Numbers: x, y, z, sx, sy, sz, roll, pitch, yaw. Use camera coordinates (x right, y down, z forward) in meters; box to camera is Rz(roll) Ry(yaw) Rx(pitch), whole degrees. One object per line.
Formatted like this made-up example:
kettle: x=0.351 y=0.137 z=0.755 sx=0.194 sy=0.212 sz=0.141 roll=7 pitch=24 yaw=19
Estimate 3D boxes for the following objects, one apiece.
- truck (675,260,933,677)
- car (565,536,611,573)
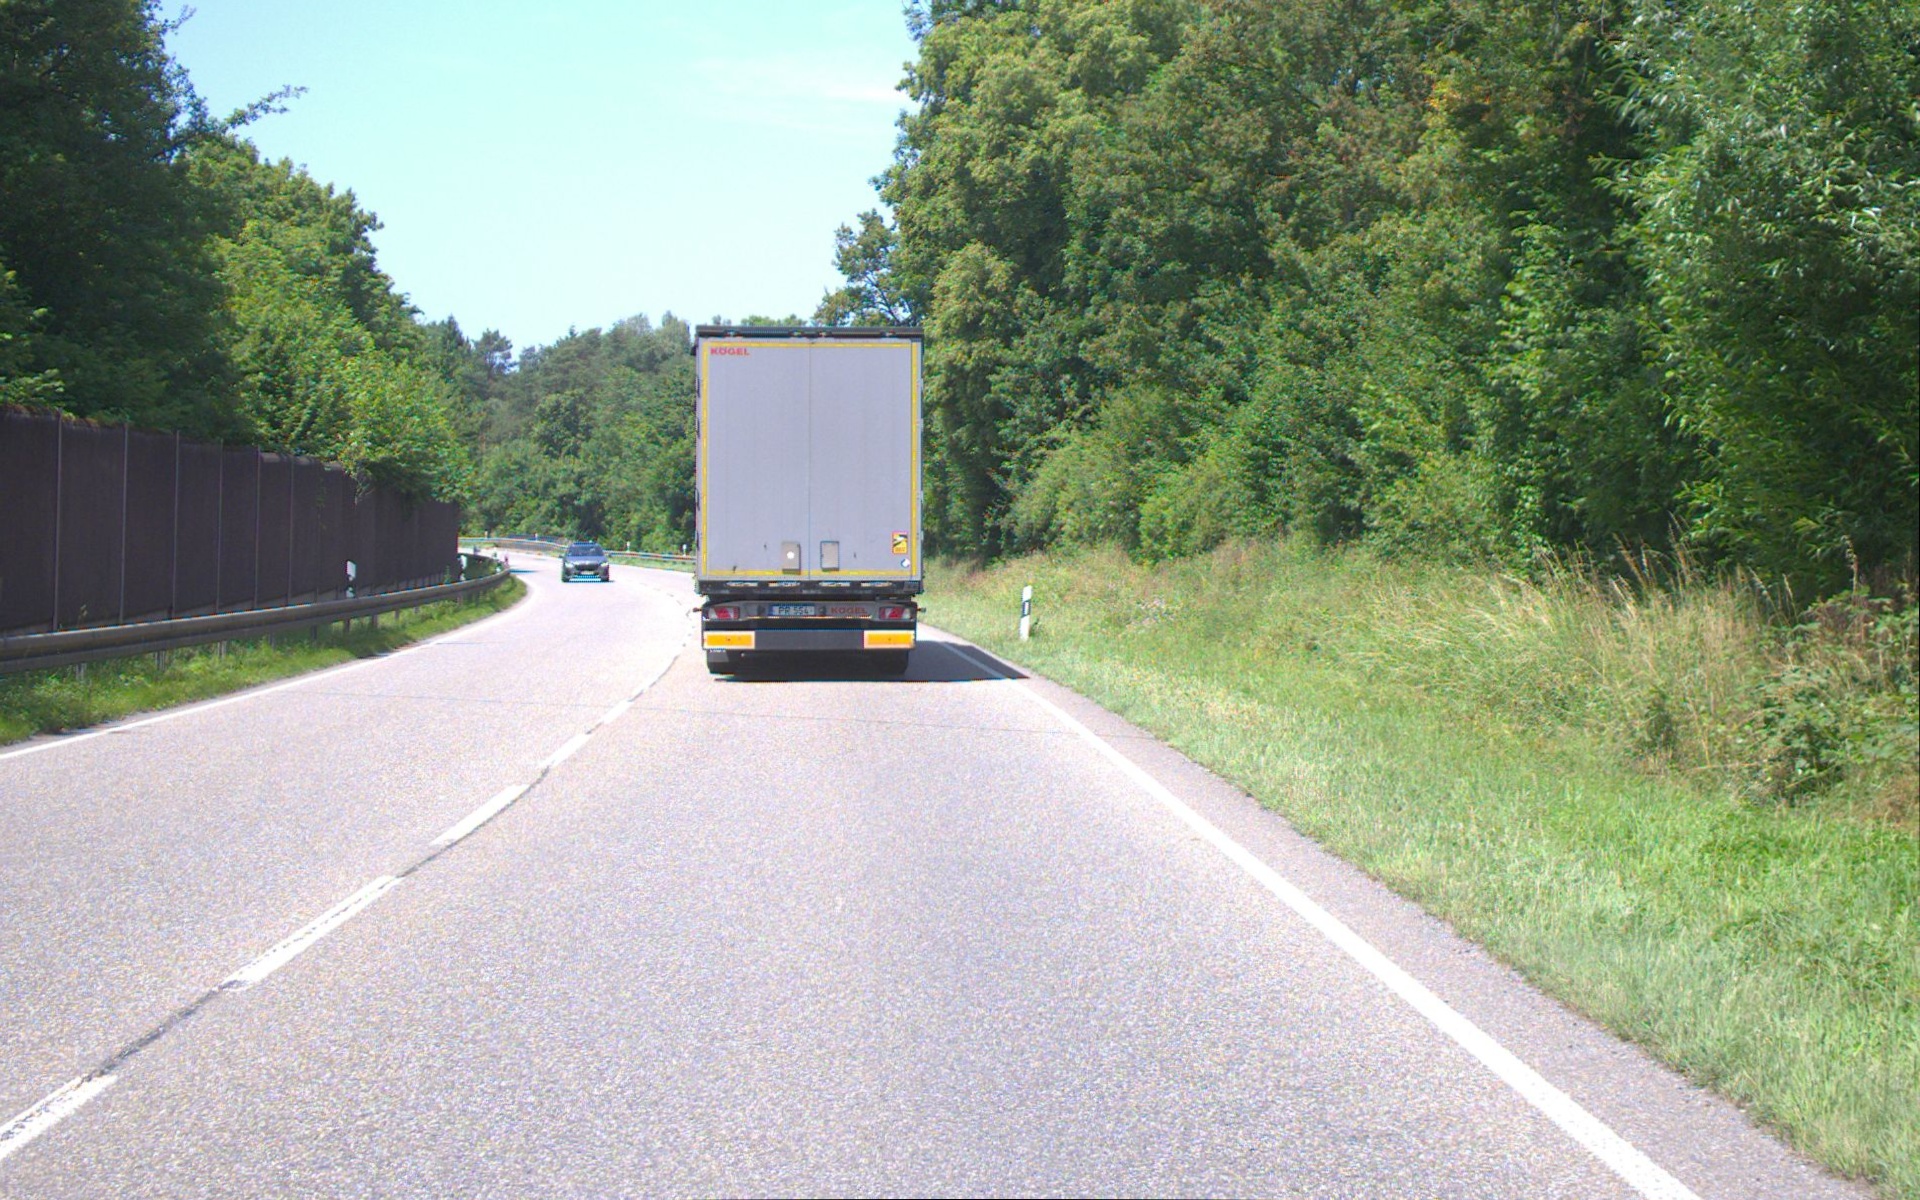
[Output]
truck: x=-1.764 y=-1.466 z=41.347 sx=2.822 sy=4.588 sz=6.665 roll=0 pitch=0 yaw=-1
car: x=-14.946 y=-1.831 z=138.093 sx=1.616 sy=1.486 sz=3.618 roll=0 pitch=1 yaw=-10
